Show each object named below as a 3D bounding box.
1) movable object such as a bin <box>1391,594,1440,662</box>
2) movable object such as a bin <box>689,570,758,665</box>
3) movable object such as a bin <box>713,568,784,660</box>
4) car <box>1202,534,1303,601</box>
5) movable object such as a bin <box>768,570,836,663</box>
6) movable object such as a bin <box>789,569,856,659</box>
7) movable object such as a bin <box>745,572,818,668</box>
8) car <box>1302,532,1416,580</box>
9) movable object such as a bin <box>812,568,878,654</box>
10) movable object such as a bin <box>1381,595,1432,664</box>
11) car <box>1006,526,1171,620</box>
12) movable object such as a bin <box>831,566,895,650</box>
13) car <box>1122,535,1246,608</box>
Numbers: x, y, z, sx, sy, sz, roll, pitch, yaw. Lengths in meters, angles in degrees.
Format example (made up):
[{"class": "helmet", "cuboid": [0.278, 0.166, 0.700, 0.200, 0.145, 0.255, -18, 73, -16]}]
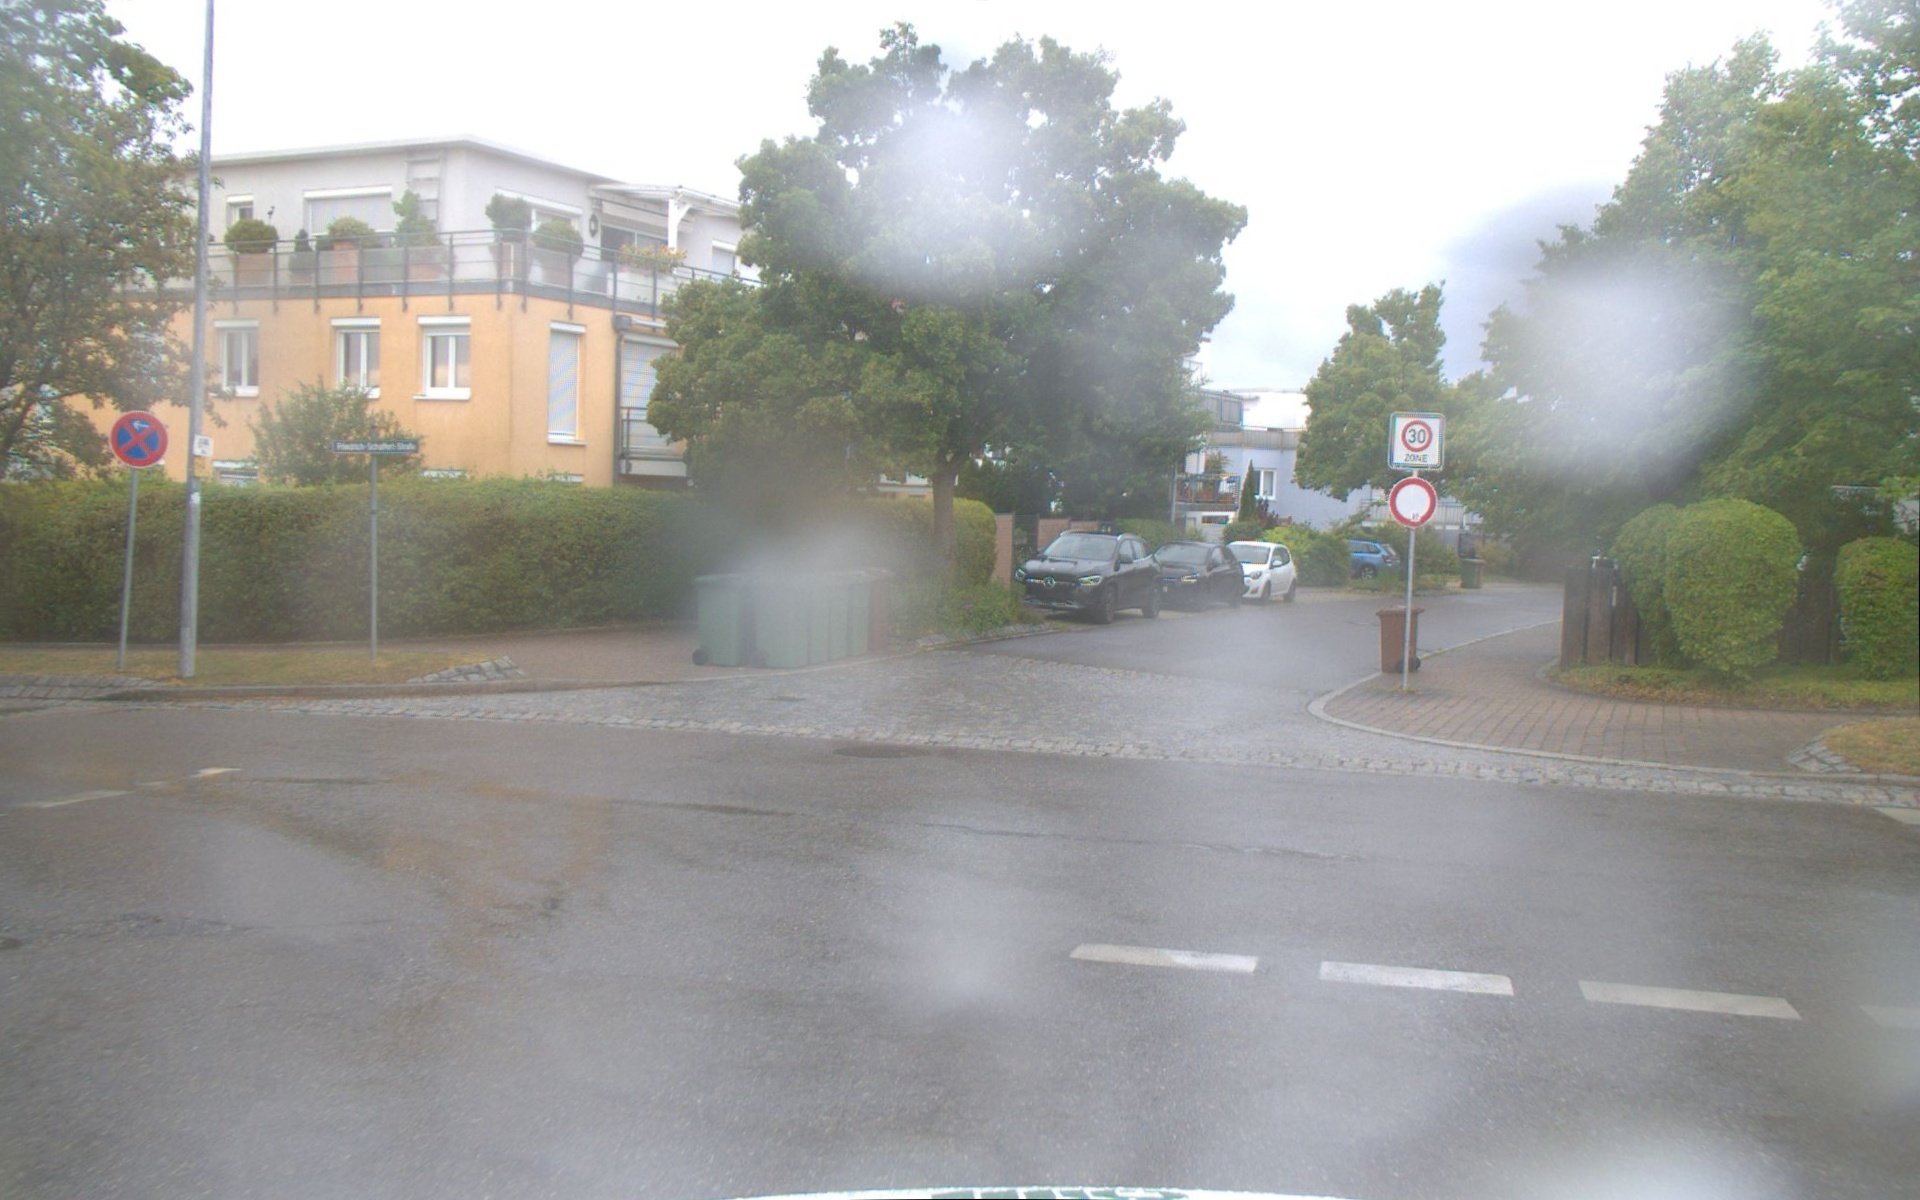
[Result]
[{"class": "movable object such as a bin", "cuboid": [6.745, 0.411, 24.476, 0.560, 0.947, 0.529, 3, 3, 30]}, {"class": "movable object such as a bin", "cuboid": [-2.850, 0.199, 19.977, 0.651, 1.092, 0.544, 2, 3, 18]}, {"class": "movable object such as a bin", "cuboid": [-2.627, 0.165, 20.577, 0.679, 1.091, 0.598, 2, 3, 17]}, {"class": "car", "cuboid": [7.314, -0.832, 41.213, 1.482, 1.501, 3.270, 5, 4, 27]}, {"class": "movable object such as a bin", "cuboid": [-1.943, 0.197, 20.381, 0.679, 1.093, 0.544, 2, 3, 17]}, {"class": "movable object such as a bin", "cuboid": [-1.738, 0.169, 20.950, 0.679, 1.085, 0.579, 2, 3, 17]}, {"class": "movable object such as a bin", "cuboid": [-2.134, 0.229, 19.801, 0.679, 1.093, 0.602, 2, 3, 17]}, {"class": "car", "cuboid": [14.965, -1.669, 62.021, 3.906, 1.595, 1.909, 3, 3, 21]}, {"class": "movable object such as a bin", "cuboid": [-1.497, 0.135, 21.520, 0.679, 1.073, 0.606, 2, 3, 17]}, {"class": "movable object such as a bin", "cuboid": [6.478, 0.423, 23.985, 0.560, 0.947, 0.529, 3, 3, 30]}, {"class": "car", "cuboid": [2.504, -0.548, 31.349, 1.740, 1.544, 4.136, 5, 4, 24]}, {"class": "movable object such as a bin", "cuboid": [-1.304, 0.098, 22.307, 0.679, 1.073, 0.606, 2, 3, 17]}, {"class": "car", "cuboid": [5.027, -0.667, 36.803, 1.604, 1.433, 3.602, 5, 4, 26]}]
